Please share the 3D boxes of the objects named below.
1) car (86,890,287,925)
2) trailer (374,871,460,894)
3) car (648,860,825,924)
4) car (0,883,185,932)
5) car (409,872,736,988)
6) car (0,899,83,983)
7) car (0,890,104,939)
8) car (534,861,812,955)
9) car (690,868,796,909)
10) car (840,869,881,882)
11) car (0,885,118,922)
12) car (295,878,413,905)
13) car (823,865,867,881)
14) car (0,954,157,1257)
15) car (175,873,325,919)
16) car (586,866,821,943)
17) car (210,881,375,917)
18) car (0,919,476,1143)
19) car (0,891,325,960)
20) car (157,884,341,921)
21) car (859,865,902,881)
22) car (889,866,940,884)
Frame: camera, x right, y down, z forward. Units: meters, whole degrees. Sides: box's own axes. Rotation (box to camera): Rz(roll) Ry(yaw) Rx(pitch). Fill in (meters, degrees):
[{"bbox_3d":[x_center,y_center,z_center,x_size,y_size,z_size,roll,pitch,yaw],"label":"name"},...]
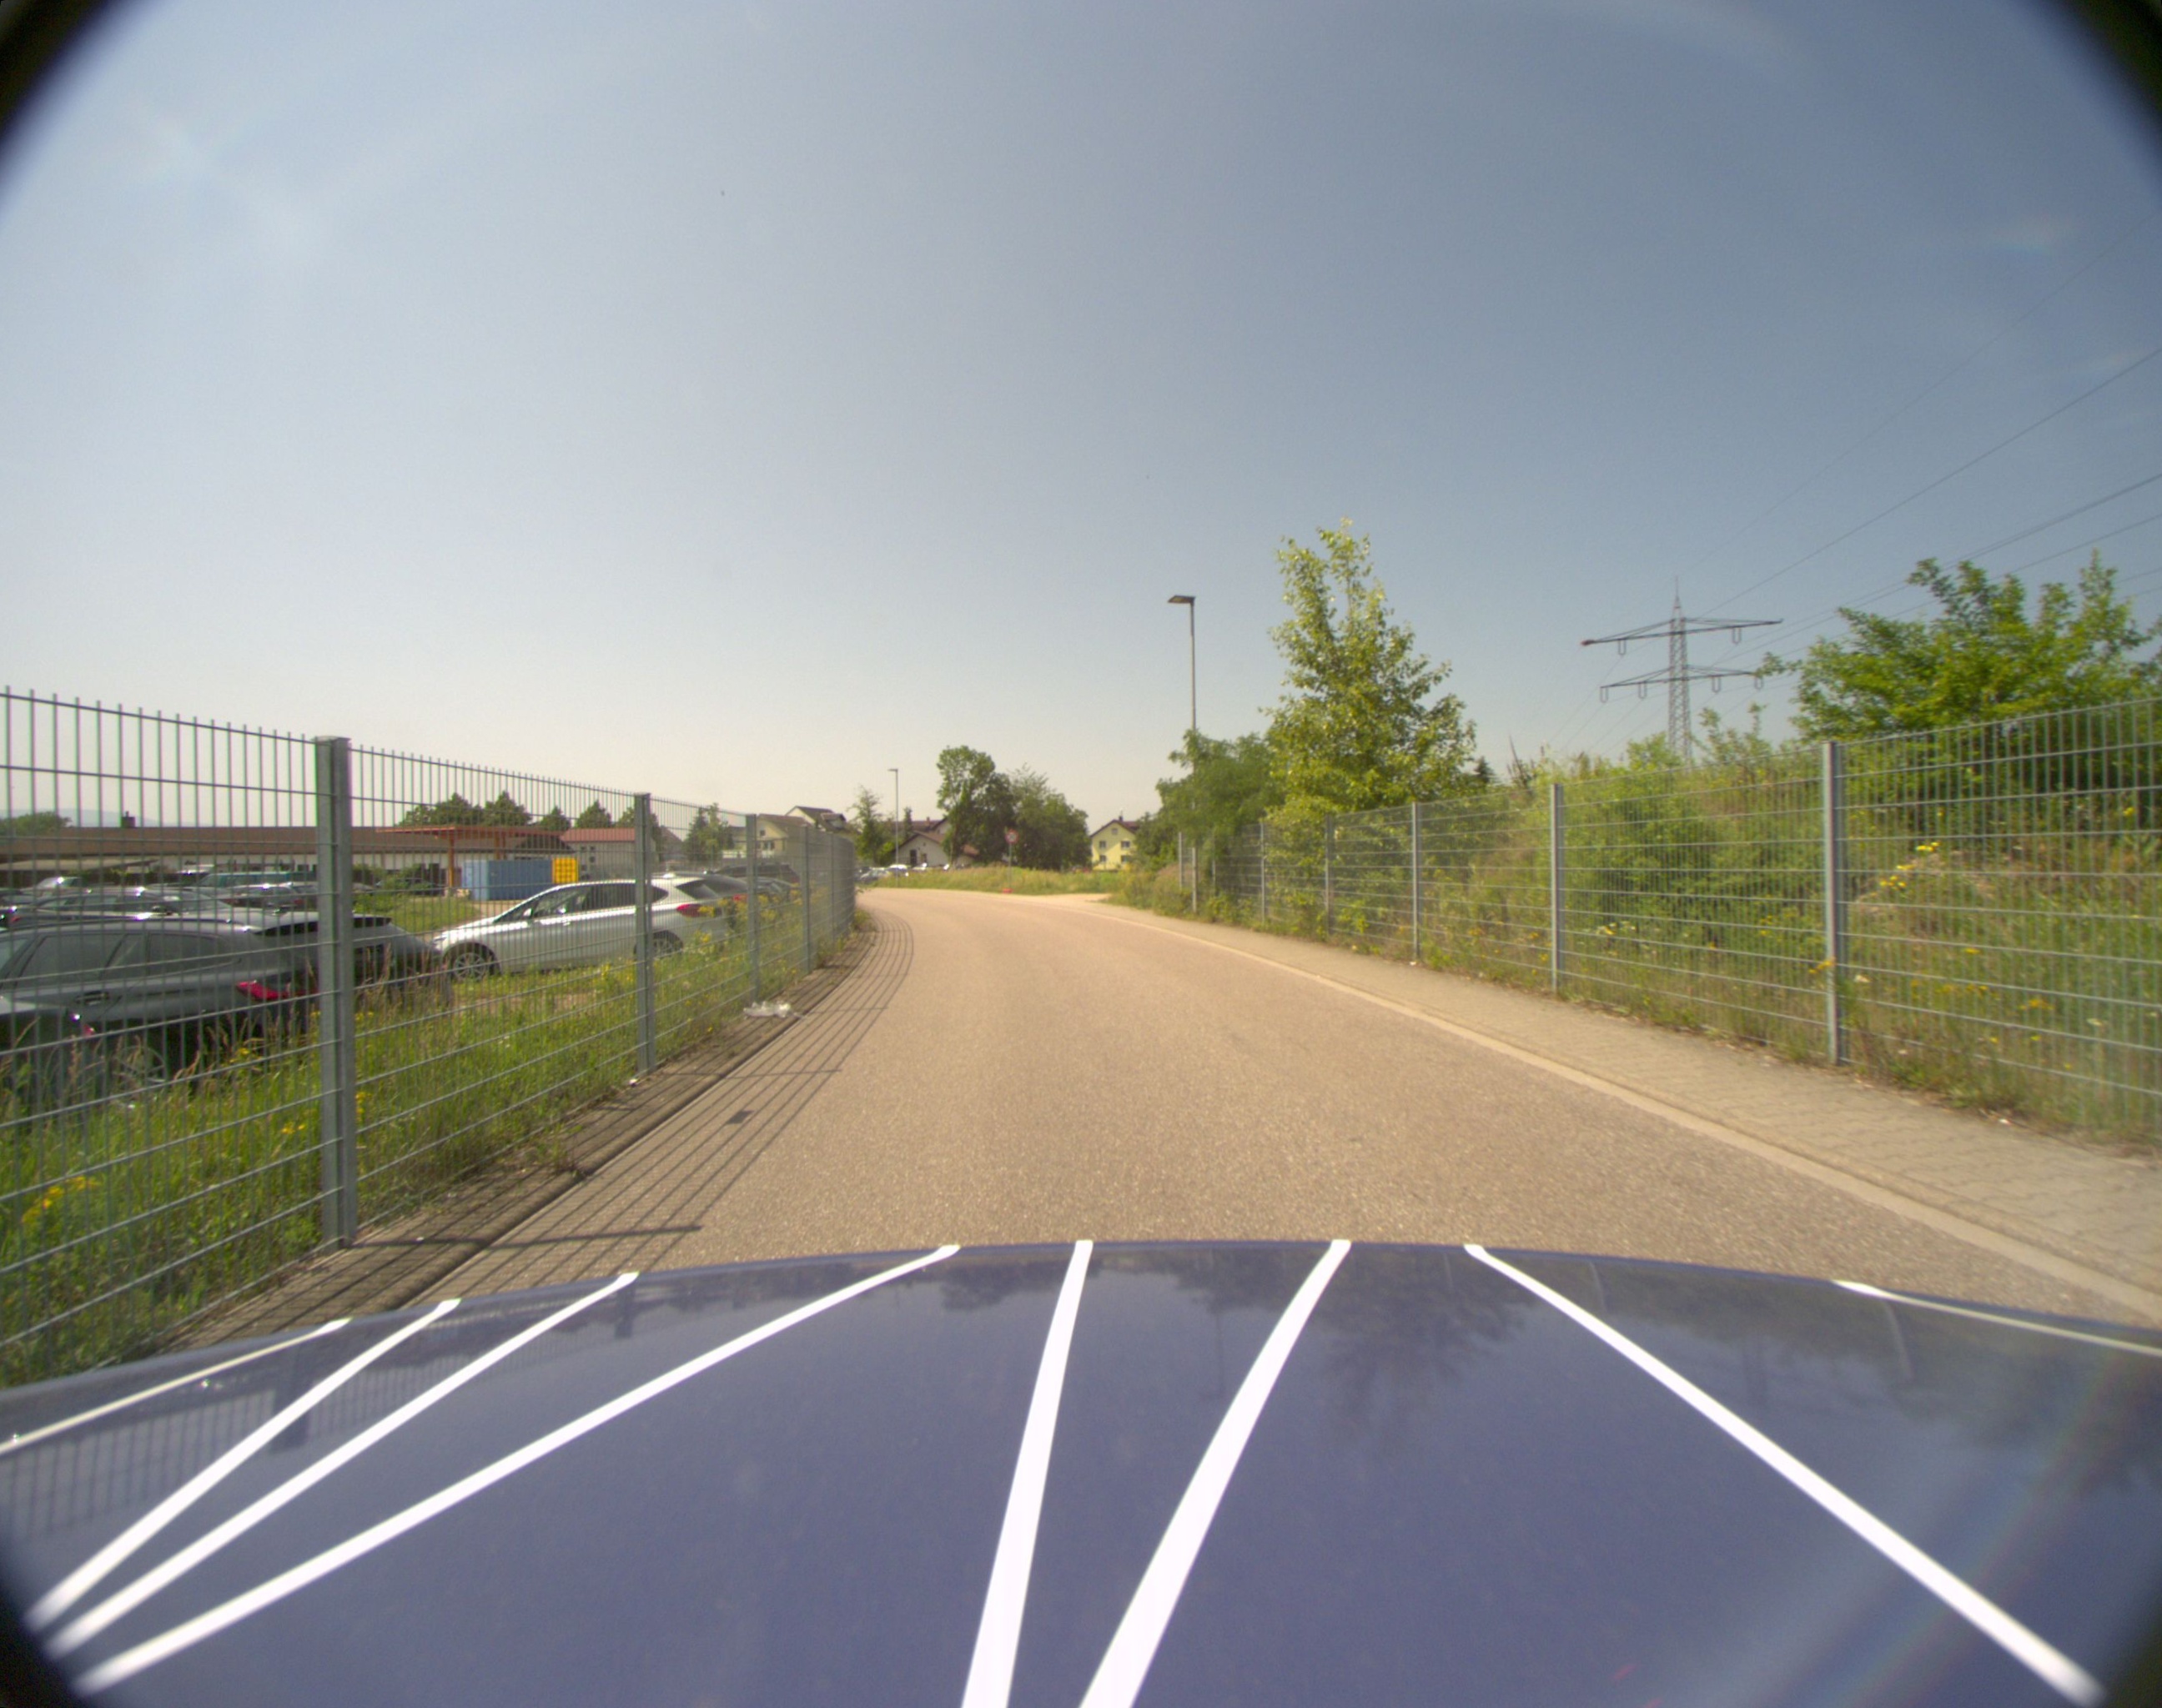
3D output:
[{"bbox_3d":[-30.304,1.789,25.880,4.390,1.027,1.617,0,-1,-10],"label":"car"},{"bbox_3d":[-49.497,2.092,56.766,1.766,1.556,4.625,-3,-2,17],"label":"trailer"},{"bbox_3d":[-10.333,1.090,23.041,4.707,1.758,1.739,0,-1,-24],"label":"car"},{"bbox_3d":[-29.555,1.531,22.059,4.390,1.267,1.877,0,-1,-10],"label":"car"},{"bbox_3d":[-8.152,1.164,12.578,4.136,1.660,1.721,0,0,-12],"label":"car"},{"bbox_3d":[-20.406,1.504,12.555,4.760,1.344,1.820,0,-1,-10],"label":"car"},{"bbox_3d":[-28.740,1.579,19.612,4.390,1.176,1.576,0,-1,-10],"label":"car"},{"bbox_3d":[-7.805,1.001,14.931,4.483,1.660,1.722,-1,0,-8],"label":"car"},{"bbox_3d":[-12.437,1.233,27.990,3.482,1.409,1.513,0,-1,-26],"label":"car"},{"bbox_3d":[-21.858,2.108,75.353,3.638,1.239,1.584,-1,0,19],"label":"car"},{"bbox_3d":[-42.895,2.025,30.949,4.390,1.369,1.840,0,-1,-10],"label":"car"},{"bbox_3d":[-32.005,1.627,33.534,3.376,1.102,1.670,0,-1,-10],"label":"car"},{"bbox_3d":[-21.768,1.749,70.084,3.638,1.481,1.584,-1,0,19],"label":"car"},{"bbox_3d":[-7.294,1.250,3.381,4.291,1.370,1.765,-1,-1,2],"label":"car"},{"bbox_3d":[-37.761,1.877,34.645,4.390,1.970,1.840,0,0,-10],"label":"car"},{"bbox_3d":[-8.417,1.088,17.363,4.485,1.573,1.794,0,-1,-11],"label":"car"},{"bbox_3d":[-31.983,1.800,30.944,4.390,1.337,1.840,0,-1,-10],"label":"car"},{"bbox_3d":[-7.745,1.298,6.028,4.353,1.370,1.764,-1,-1,-4],"label":"car"},{"bbox_3d":[-20.977,1.591,17.559,4.760,1.344,1.820,0,-1,-10],"label":"car"},{"bbox_3d":[-30.842,1.764,28.318,4.390,1.198,1.840,0,-1,-10],"label":"car"},{"bbox_3d":[-18.185,1.757,68.960,3.454,1.411,1.584,-1,0,19],"label":"car"},{"bbox_3d":[-13.151,1.669,59.968,4.392,1.326,1.585,-1,0,40],"label":"car"}]
